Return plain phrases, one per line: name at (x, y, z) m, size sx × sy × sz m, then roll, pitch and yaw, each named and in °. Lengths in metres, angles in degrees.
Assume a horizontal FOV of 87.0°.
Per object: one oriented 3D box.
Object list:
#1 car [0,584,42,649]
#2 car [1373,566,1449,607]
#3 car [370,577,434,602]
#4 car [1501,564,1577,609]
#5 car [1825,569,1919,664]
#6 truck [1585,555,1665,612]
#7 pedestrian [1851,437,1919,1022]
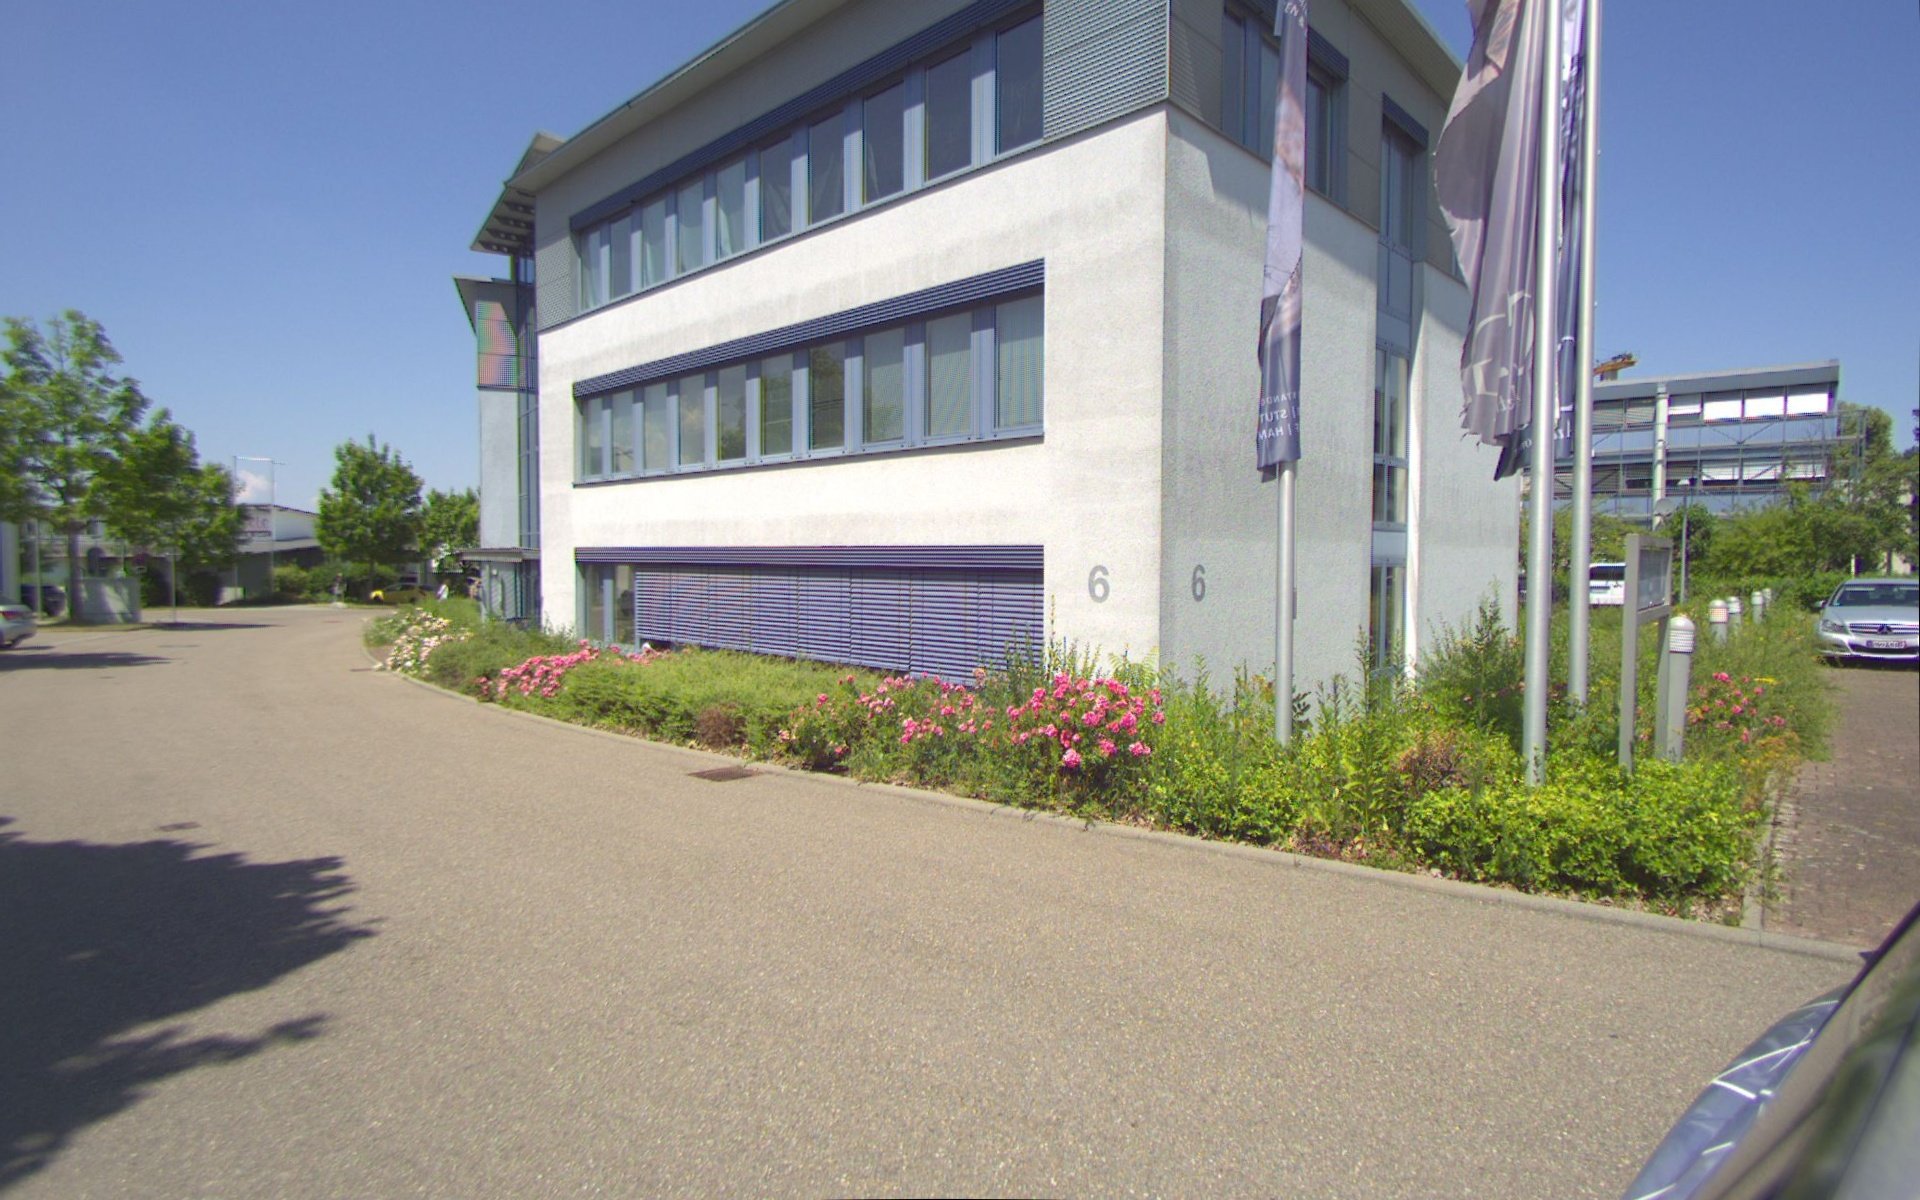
car at (-23.083, 0.358, 22.612) m, size 3.518 × 1.461 × 1.637 m, roll 0°, pitch 0°, yaw -30°
car at (18.441, -0.581, 41.330) m, size 1.781 × 1.565 × 3.942 m, roll 0°, pitch 2°, yaw 41°
car at (-34.539, -0.660, 62.690) m, size 3.158 × 1.460 × 1.588 m, roll -1°, pitch 1°, yaw 5°
car at (21.880, -0.534, 38.186) m, size 1.781 × 1.565 × 3.942 m, roll 0°, pitch 2°, yaw 41°
car at (15.705, 0.207, 16.881) m, size 1.707 × 1.408 × 3.751 m, roll 2°, pitch 3°, yaw 44°
truck at (23.564, -0.608, 35.794) m, size 1.990 × 1.917 × 3.944 m, roll 0°, pitch 2°, yaw 39°
pedestrian at (3.523, 0.408, 3.108) m, size 0.886 × 1.842 × 0.862 m, roll -1°, pitch 1°, yaw -20°
